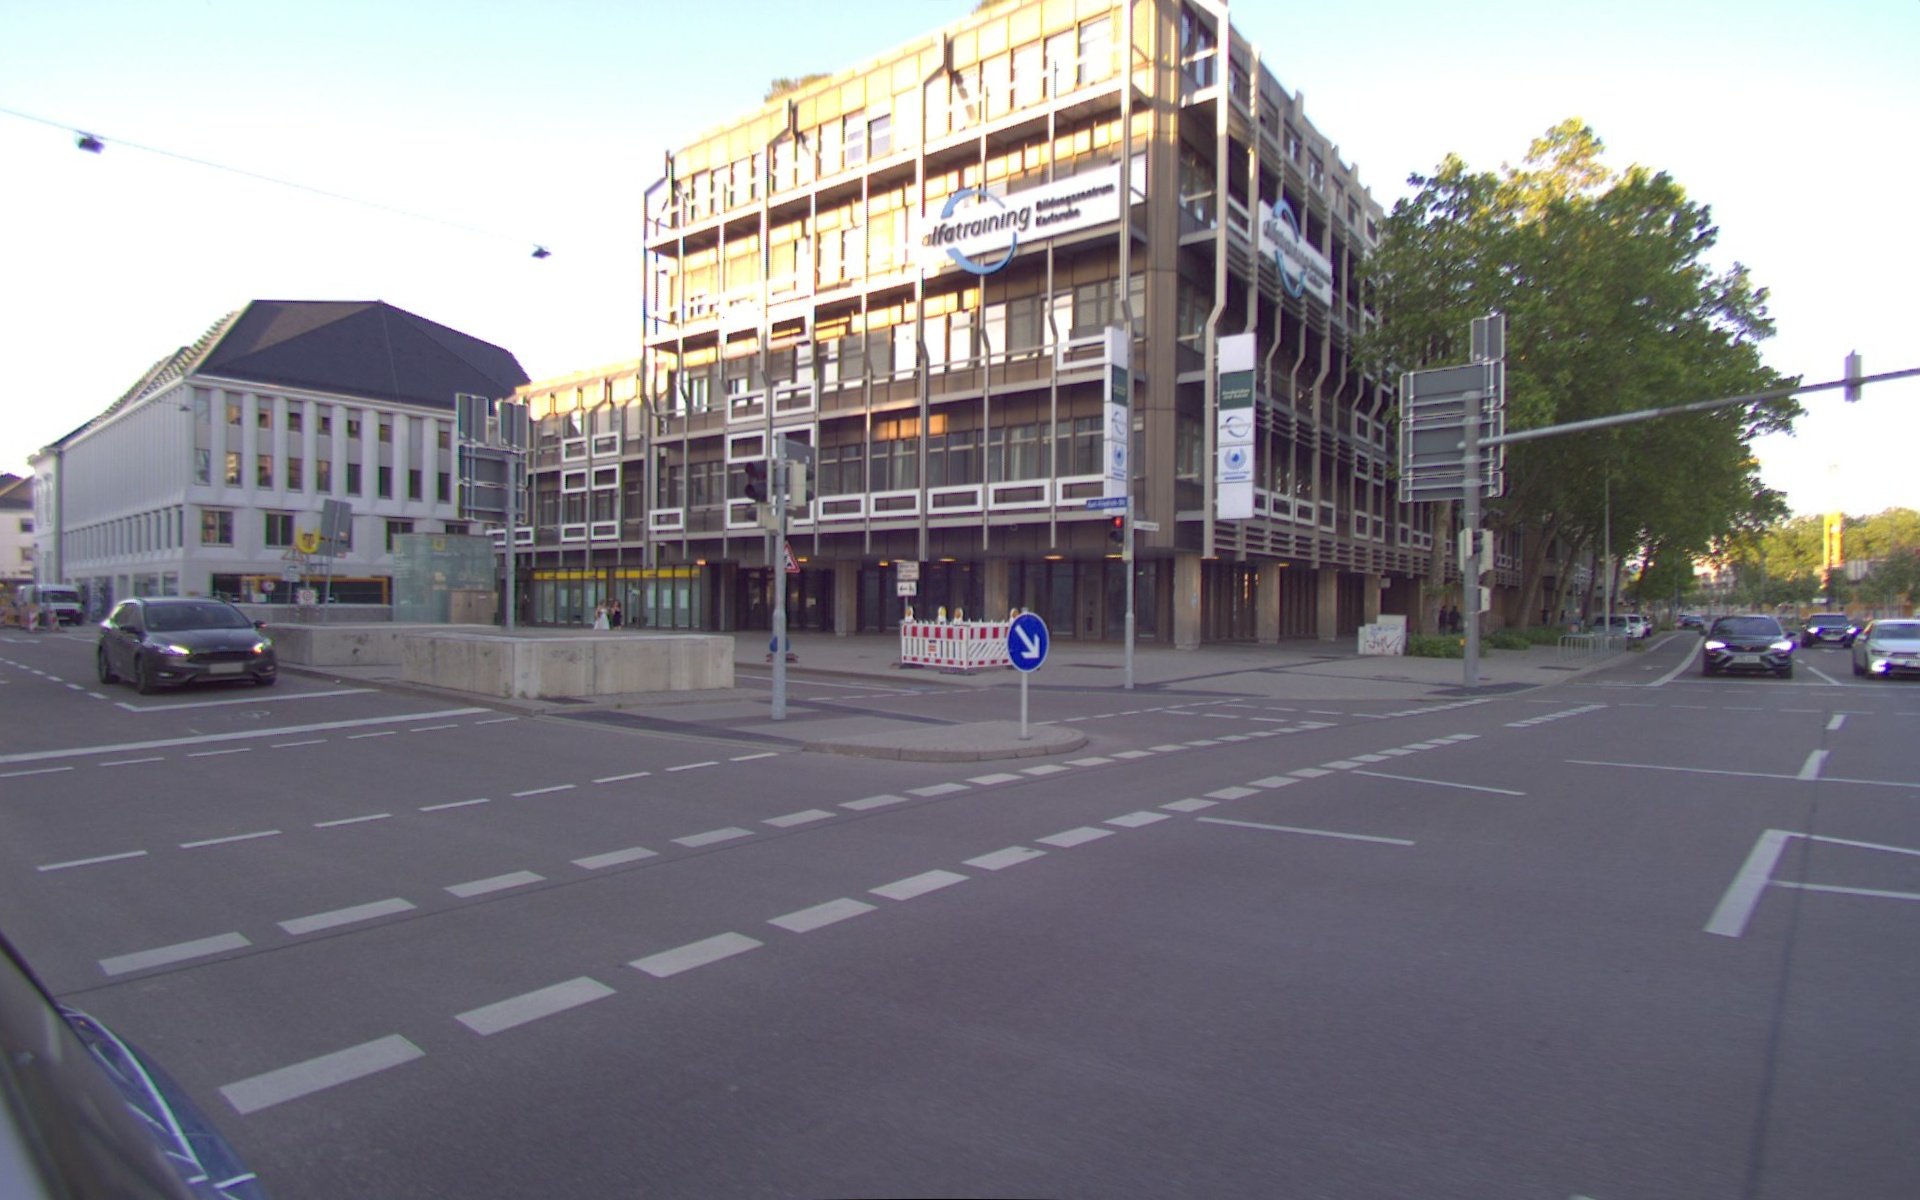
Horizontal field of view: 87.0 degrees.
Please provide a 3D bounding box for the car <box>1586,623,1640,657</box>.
[{"bbox_3d":[32.455,1.943,50.249,1.741,1.596,4.530,-1,-2,40],"label":"car"}]

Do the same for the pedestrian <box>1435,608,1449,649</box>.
[{"bbox_3d":[24.871,1.462,52.213,0.516,2.029,0.575,1,1,36],"label":"pedestrian"}]

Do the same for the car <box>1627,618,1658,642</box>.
[{"bbox_3d":[47.085,2.028,69.860,1.737,1.596,4.538,-1,-2,34],"label":"car"}]

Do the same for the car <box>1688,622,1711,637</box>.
[{"bbox_3d":[79.040,3.169,108.168,1.737,1.596,4.538,-1,-2,34],"label":"car"}]

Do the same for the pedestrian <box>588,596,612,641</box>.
[{"bbox_3d":[-13.610,0.692,38.253,0.583,1.651,0.662,0,-1,40],"label":"pedestrian"}]

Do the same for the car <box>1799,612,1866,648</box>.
[{"bbox_3d":[40.474,1.370,47.030,1.847,1.596,4.537,-1,-2,35],"label":"car"}]

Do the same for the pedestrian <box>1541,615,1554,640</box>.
[{"bbox_3d":[42.742,2.000,73.656,0.755,1.819,0.714,1,1,36],"label":"pedestrian"}]

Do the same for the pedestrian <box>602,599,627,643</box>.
[{"bbox_3d":[-13.221,0.790,38.728,0.702,1.651,0.608,0,-1,40],"label":"pedestrian"}]

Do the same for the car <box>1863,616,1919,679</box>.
[{"bbox_3d":[23.670,1.119,24.985,1.850,1.468,4.530,-1,-2,40],"label":"car"}]

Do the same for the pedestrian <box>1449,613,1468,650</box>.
[{"bbox_3d":[25.242,1.593,51.226,0.755,1.819,0.714,1,1,36],"label":"pedestrian"}]

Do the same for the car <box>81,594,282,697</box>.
[{"bbox_3d":[-13.087,0.672,16.920,4.376,1.473,1.740,0,1,40],"label":"car"}]

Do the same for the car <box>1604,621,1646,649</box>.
[{"bbox_3d":[40.101,2.095,60.996,1.740,1.596,3.746,-1,-2,39],"label":"car"}]

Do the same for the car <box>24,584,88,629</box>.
[{"bbox_3d":[-54.582,0.393,61.067,6.046,2.575,2.114,0,-1,41],"label":"car"}]

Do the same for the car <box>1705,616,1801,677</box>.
[{"bbox_3d":[20.777,1.158,26.478,1.850,1.468,3.900,-1,-2,40],"label":"car"}]
